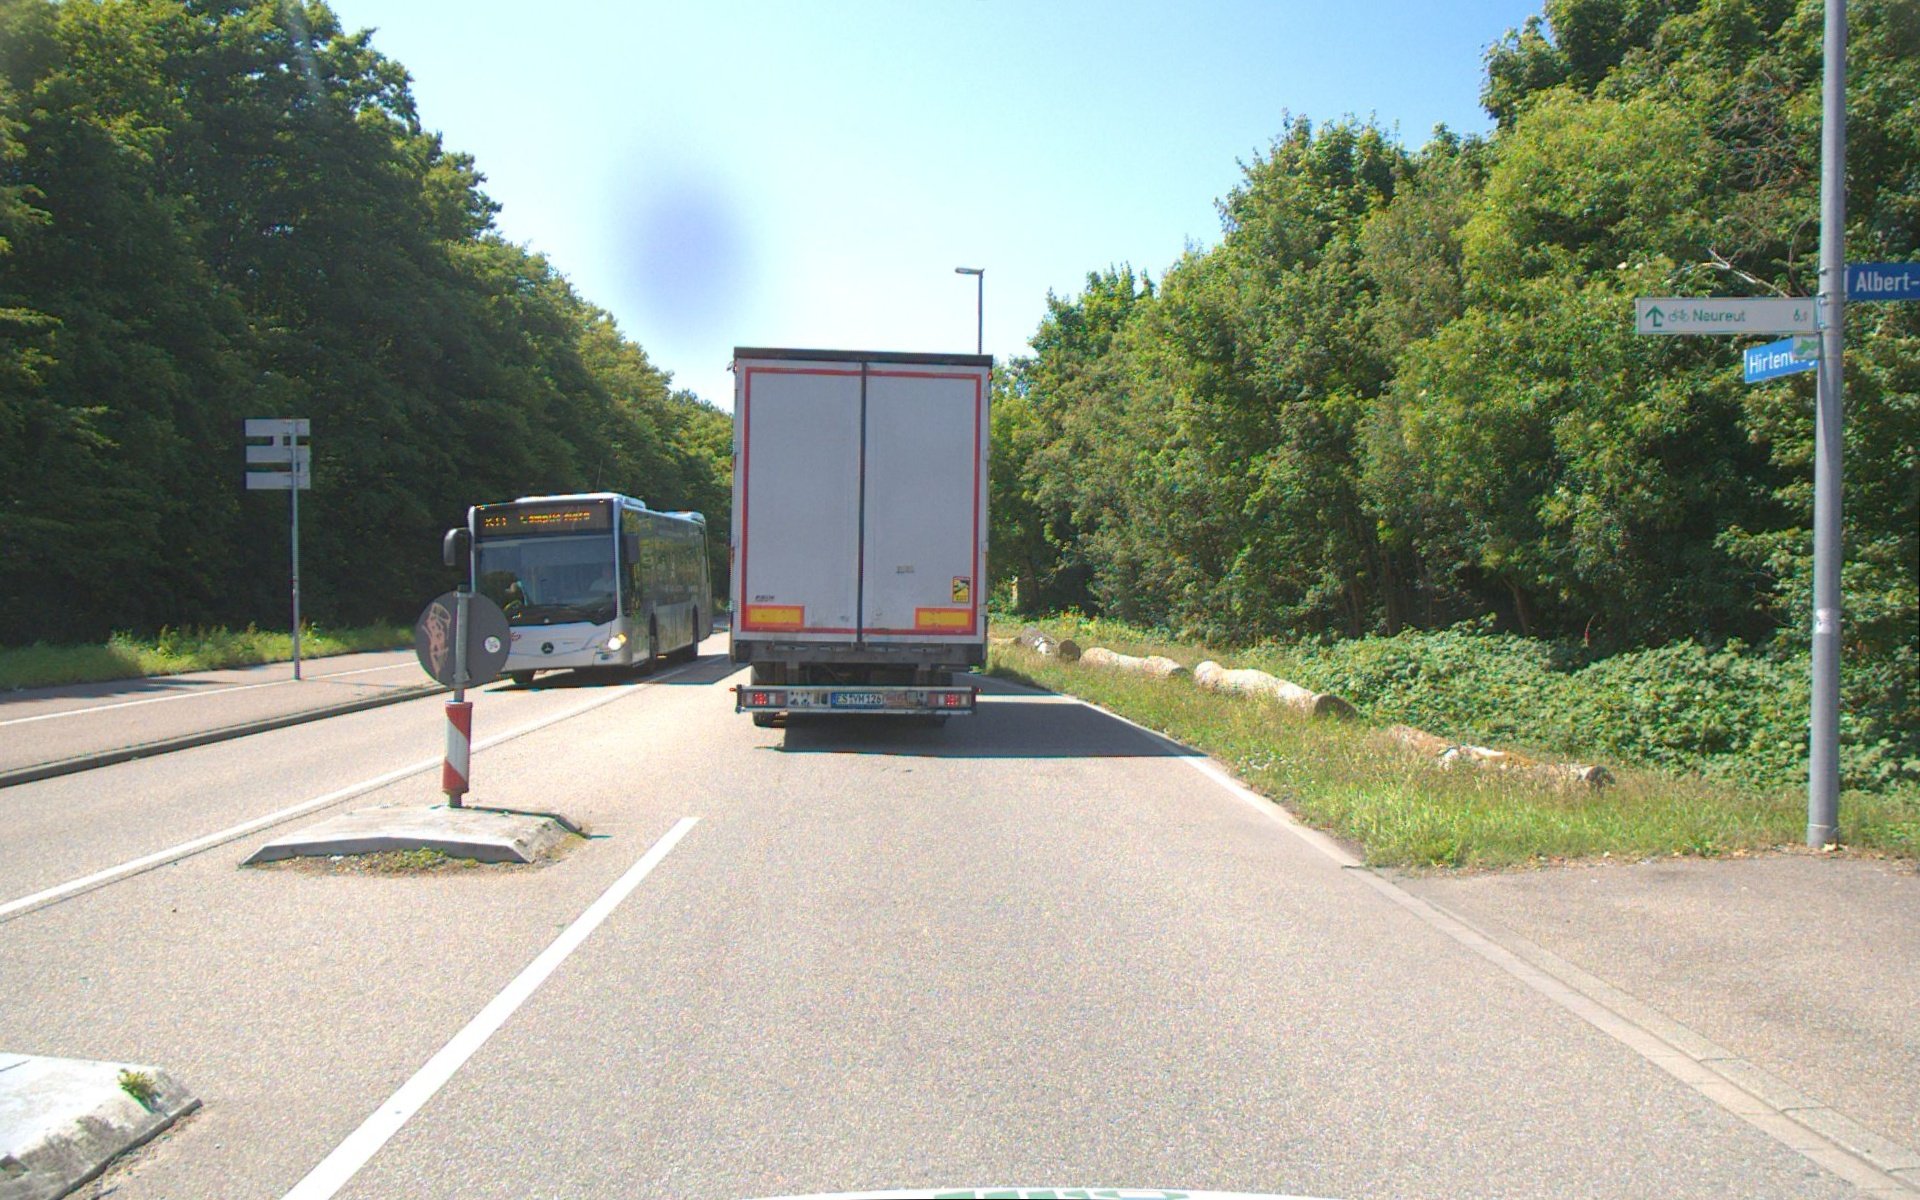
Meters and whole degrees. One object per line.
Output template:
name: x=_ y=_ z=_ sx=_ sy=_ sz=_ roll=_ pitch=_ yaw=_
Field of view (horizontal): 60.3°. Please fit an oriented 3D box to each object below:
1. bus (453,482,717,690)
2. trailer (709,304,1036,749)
bus: x=-6.714 y=-0.285 z=31.718 sx=2.695 sy=3.098 sz=11.933 roll=-3 pitch=1 yaw=-2
trailer: x=-1.292 y=-0.736 z=20.491 sx=3.018 sy=4.140 sz=9.797 roll=1 pitch=1 yaw=-6
